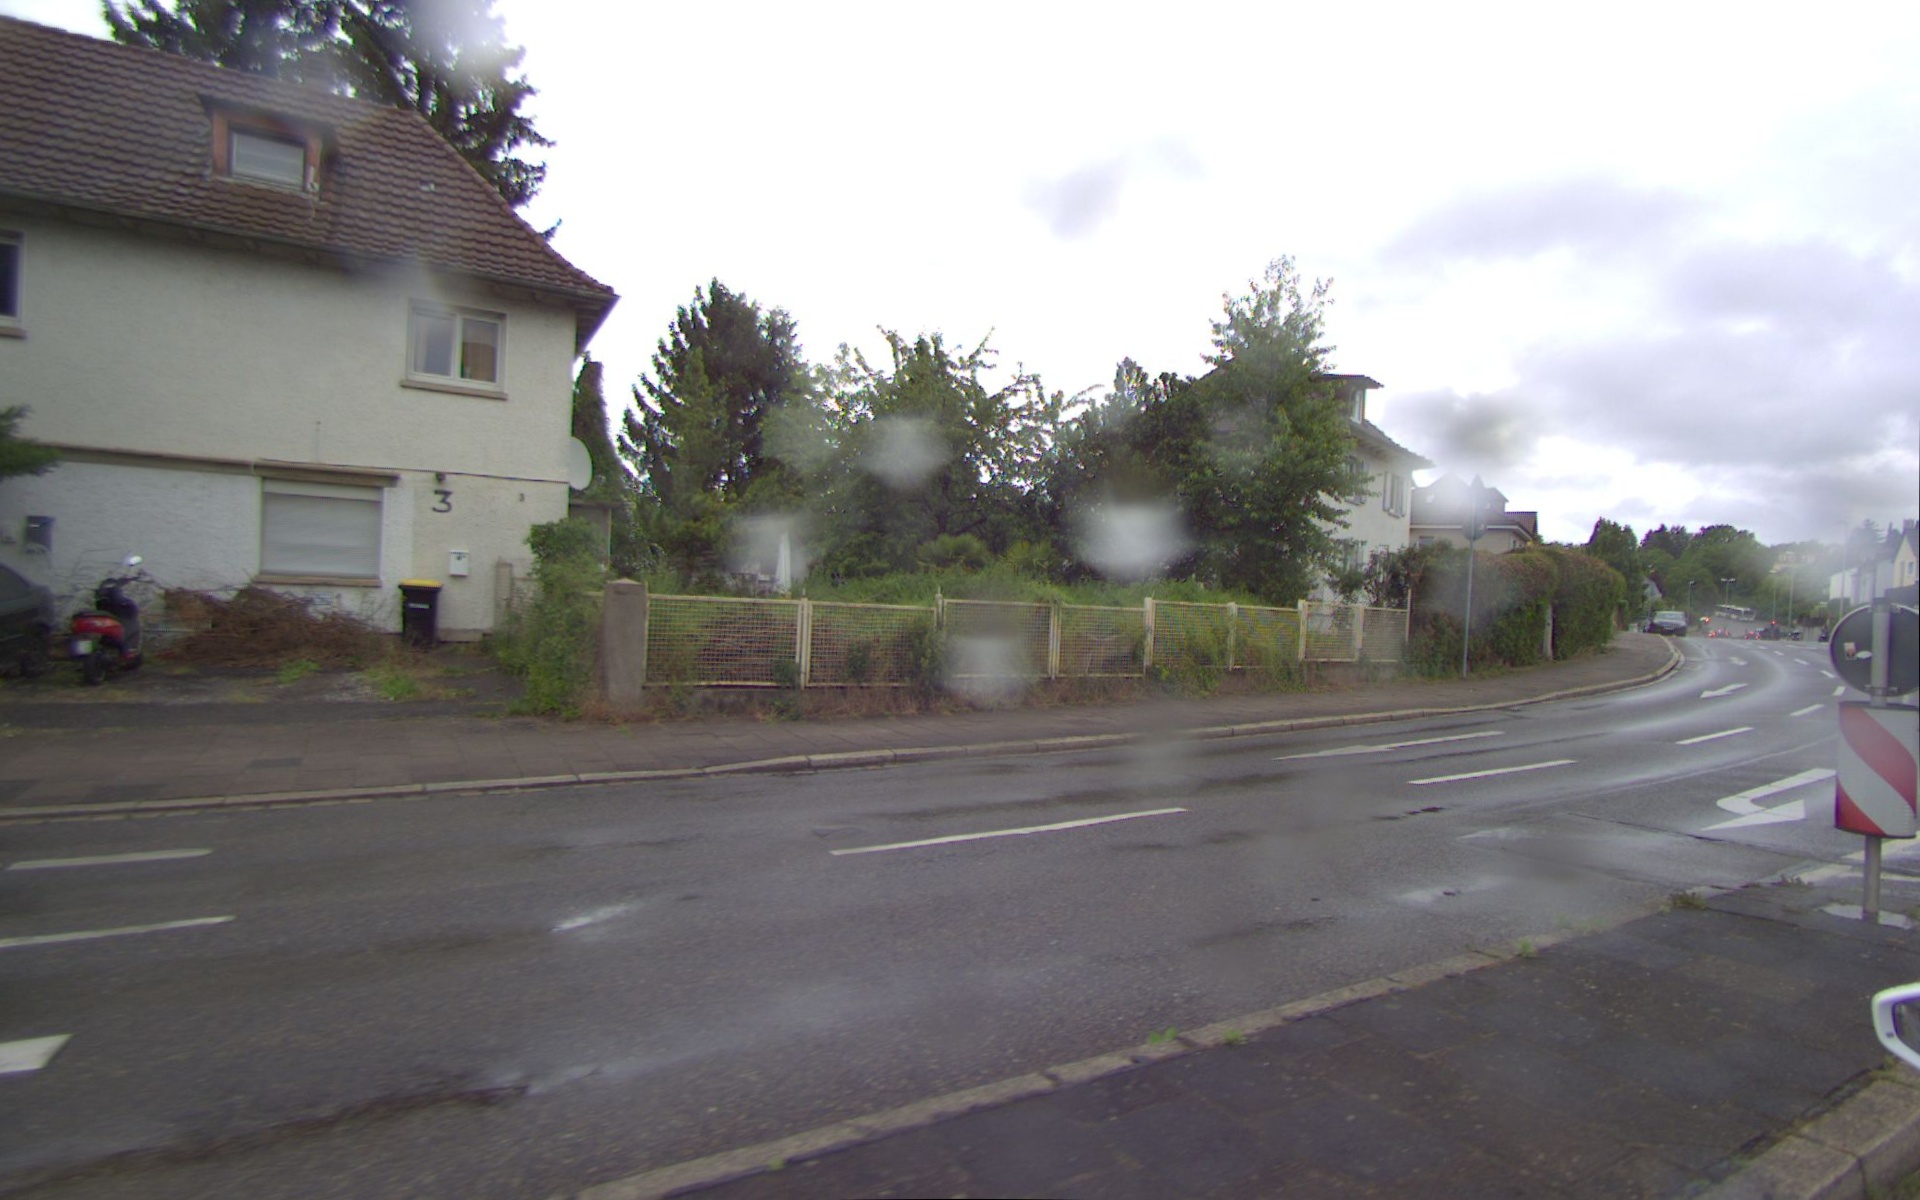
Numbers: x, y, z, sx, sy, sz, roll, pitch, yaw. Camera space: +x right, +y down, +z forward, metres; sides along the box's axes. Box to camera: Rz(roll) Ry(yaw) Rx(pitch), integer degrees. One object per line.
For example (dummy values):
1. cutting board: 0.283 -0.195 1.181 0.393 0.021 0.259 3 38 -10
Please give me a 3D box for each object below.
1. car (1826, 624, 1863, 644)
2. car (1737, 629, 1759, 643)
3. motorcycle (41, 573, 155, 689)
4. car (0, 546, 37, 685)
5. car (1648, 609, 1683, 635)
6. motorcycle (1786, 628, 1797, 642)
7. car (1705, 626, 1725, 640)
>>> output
1. car: 73.885 2.857 83.963 1.677 1.530 4.522 3 -1 34
2. car: 111.484 5.114 142.187 1.965 1.763 3.991 3 -1 32
3. motorcycle: -10.129 0.321 11.869 0.720 1.104 2.188 2 4 -33
4. car: -10.634 0.230 9.549 1.910 1.413 3.966 2 4 -30
5. car: 44.798 1.425 63.785 1.727 1.458 4.117 3 -1 35
6. motorcycle: 93.671 3.976 113.186 0.694 1.529 2.144 -1 -2 34
7. car: 99.308 4.374 132.175 1.969 1.763 3.984 2 -1 38
